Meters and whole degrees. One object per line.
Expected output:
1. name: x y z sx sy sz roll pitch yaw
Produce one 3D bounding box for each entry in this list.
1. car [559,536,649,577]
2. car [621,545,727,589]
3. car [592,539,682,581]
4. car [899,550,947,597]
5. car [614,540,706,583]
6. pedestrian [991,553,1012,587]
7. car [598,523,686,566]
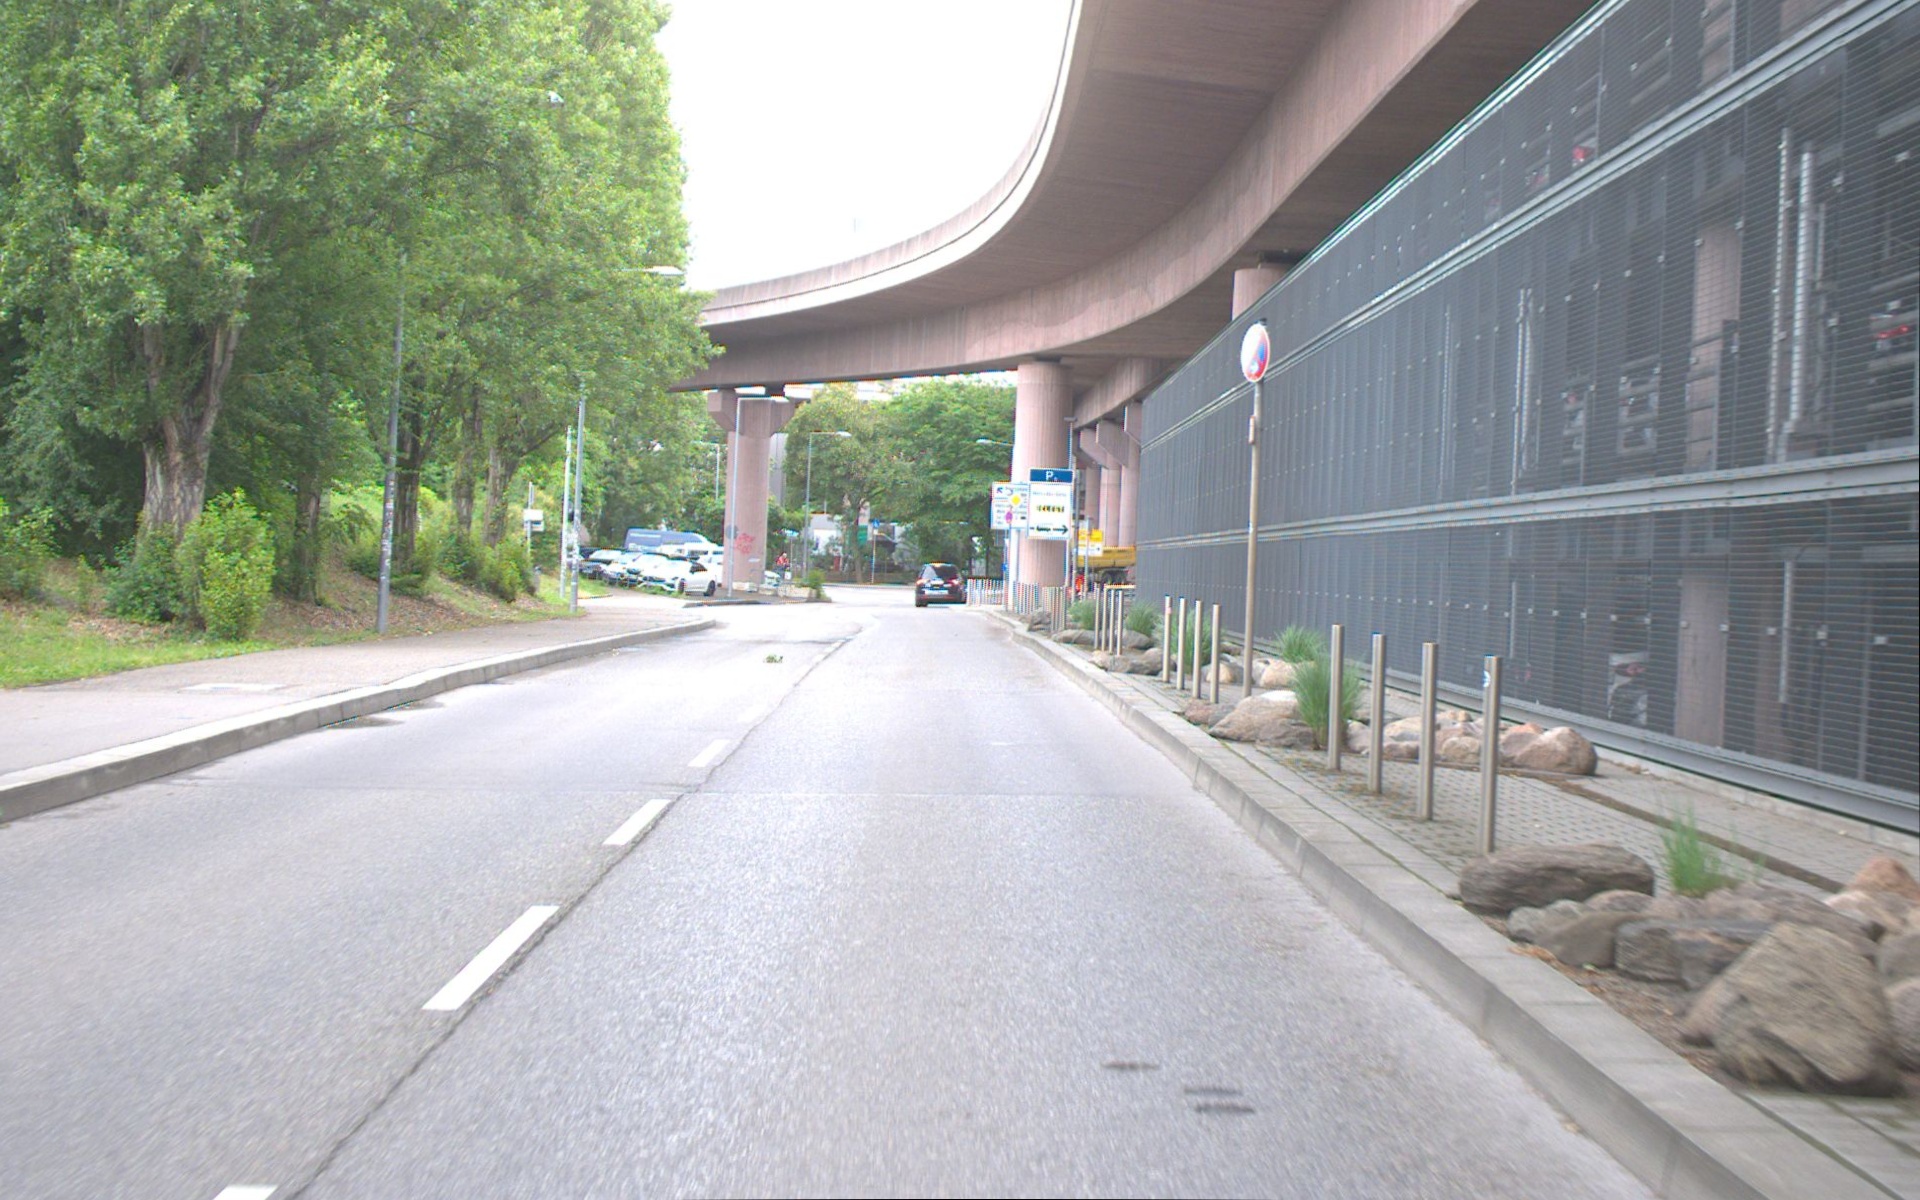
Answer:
1. car: -15.657 -1.927 151.218 1.806 1.711 3.664 4 3 41
2. car: -11.696 -1.360 140.587 1.884 1.711 4.143 4 3 41
3. car: -13.889 -1.734 147.947 1.724 1.711 3.664 4 3 41
4. car: -1.467 -1.072 137.874 1.839 1.705 3.706 2 2 0
5. car: -12.609 -1.604 144.641 1.724 1.711 3.664 4 3 41
6. pedestrian: 2.294 -1.652 190.407 0.769 1.870 0.824 1 2 -31
7. car: -15.998 -2.801 172.971 4.213 2.007 2.000 2 1 -2
